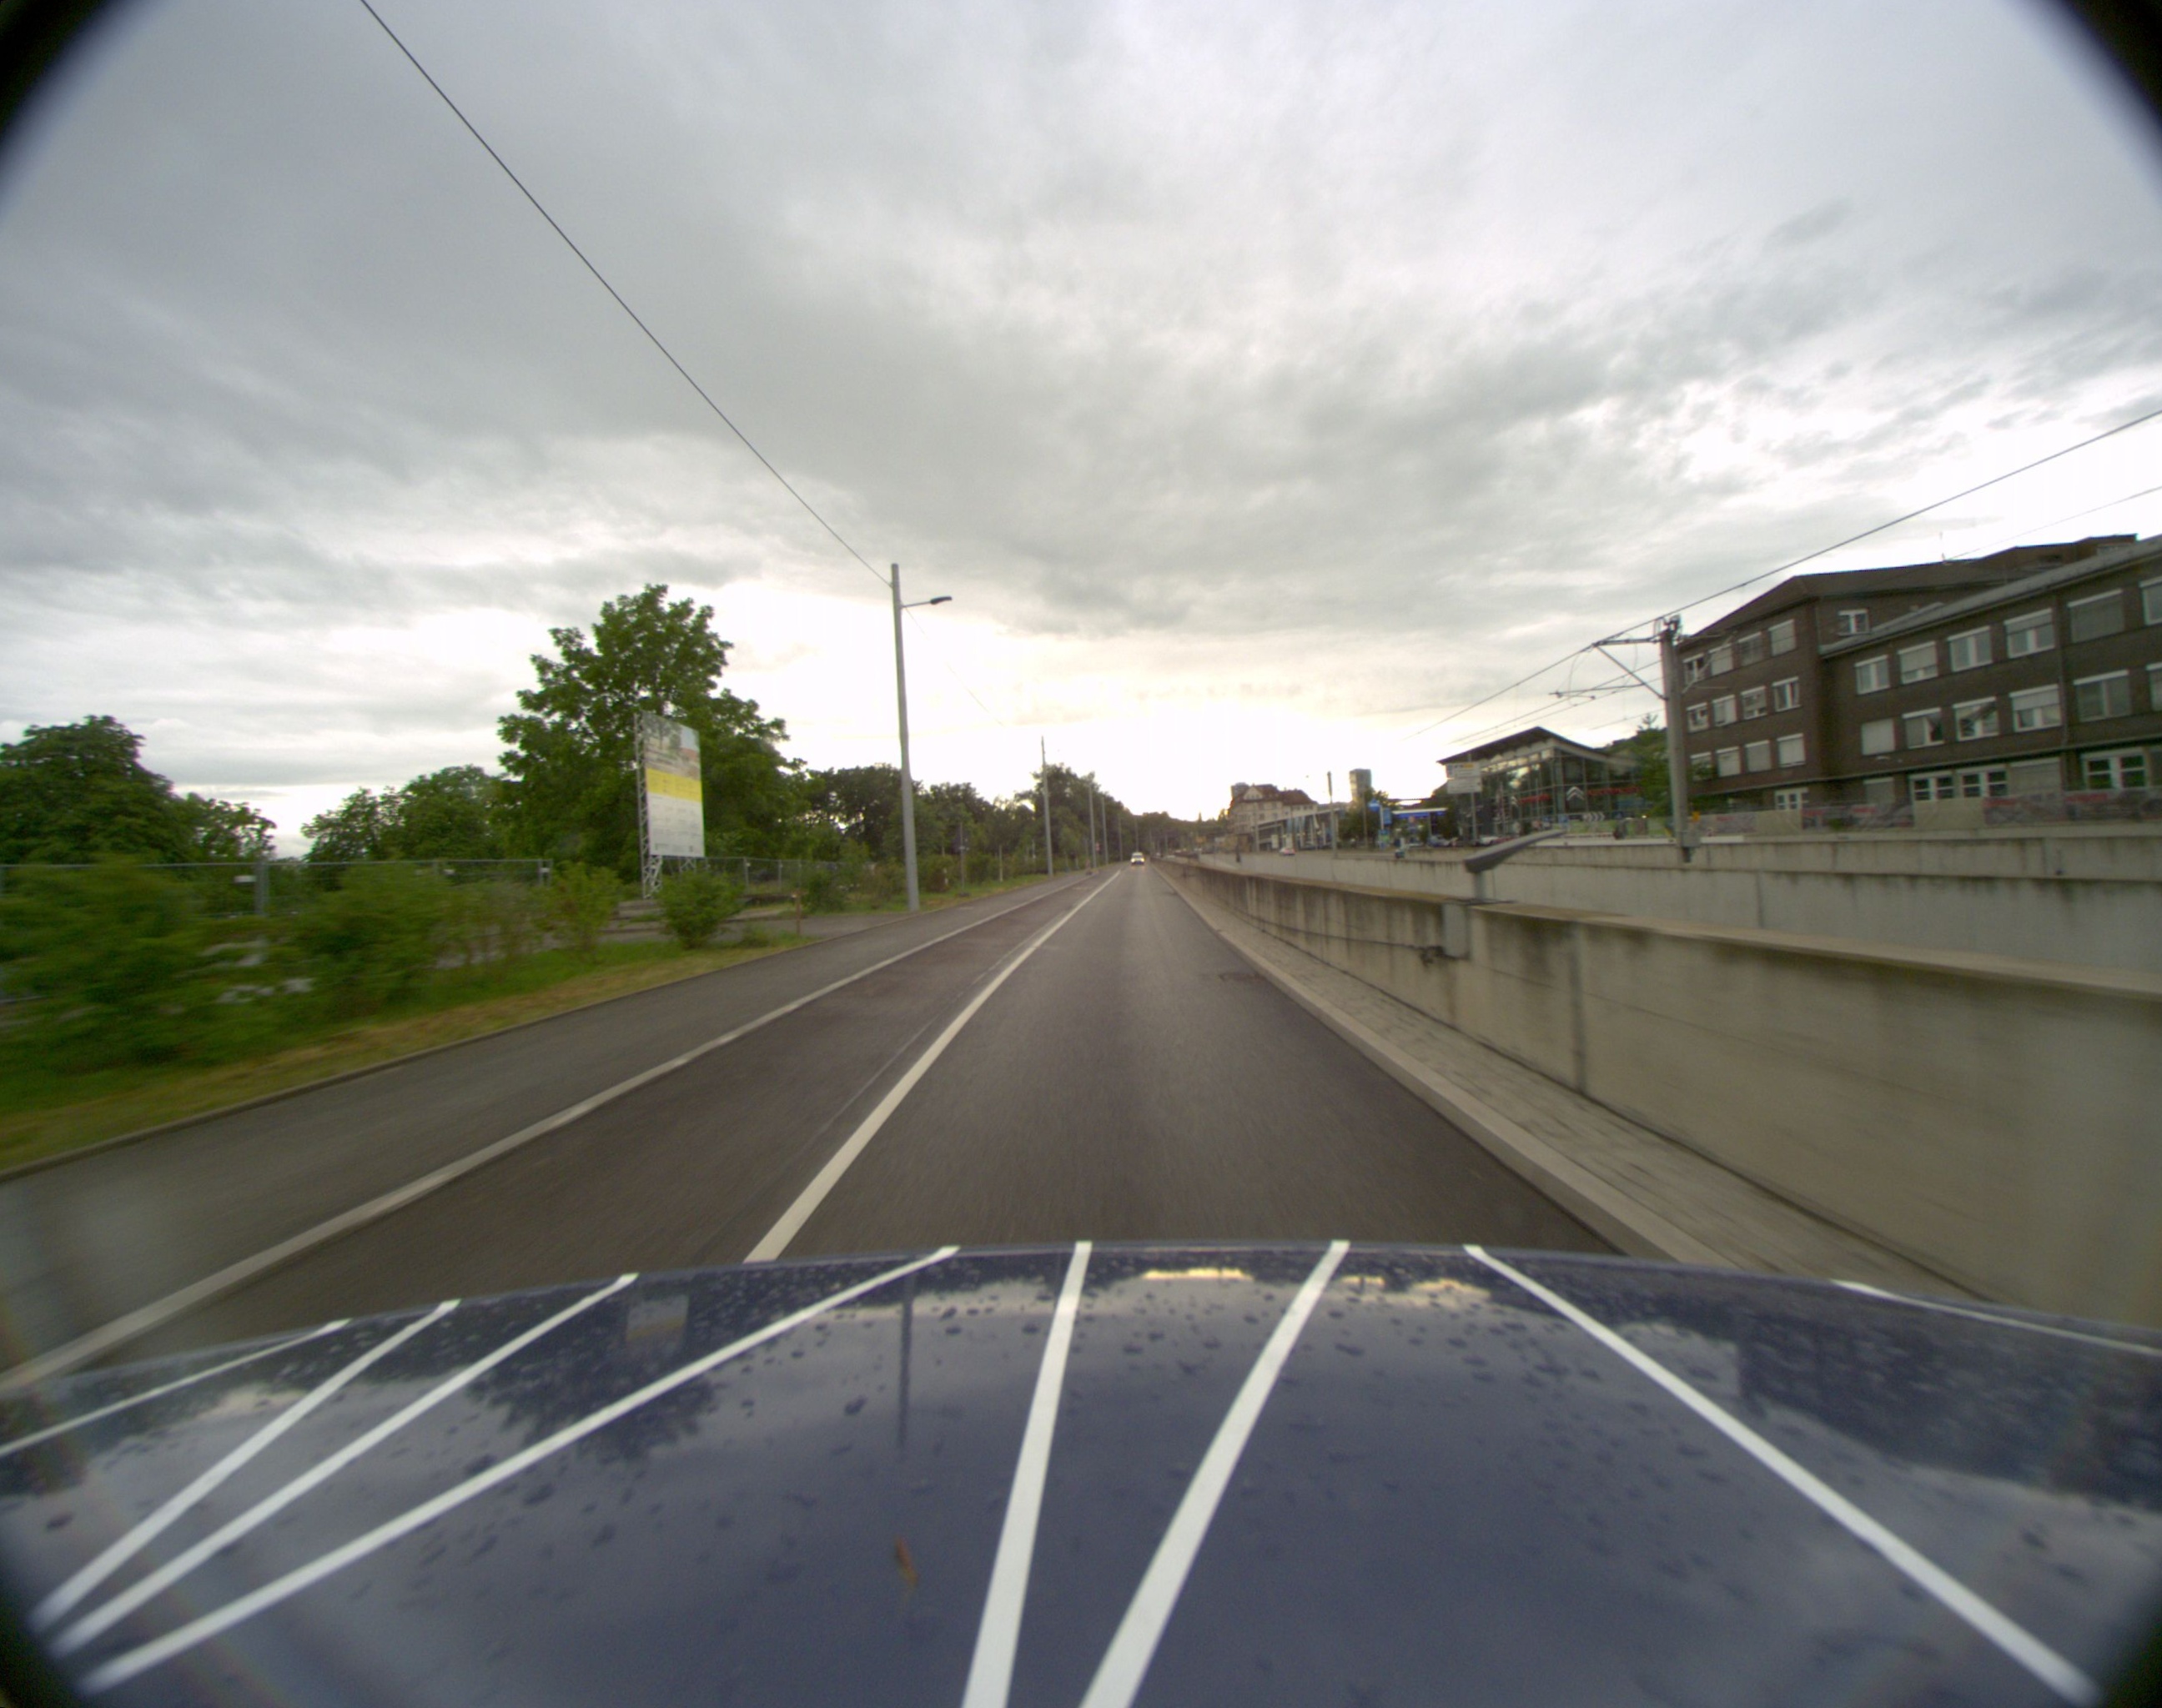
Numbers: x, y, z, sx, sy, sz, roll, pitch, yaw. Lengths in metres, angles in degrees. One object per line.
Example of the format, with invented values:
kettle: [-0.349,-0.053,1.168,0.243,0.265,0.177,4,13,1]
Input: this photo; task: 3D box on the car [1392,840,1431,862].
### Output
car: [31.948,-0.293,73.598,1.998,2.002,4.000,-2,0,1]

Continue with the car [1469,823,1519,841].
car: [46.992,-2.509,86.534,4.575,1.750,2.000,-3,0,4]

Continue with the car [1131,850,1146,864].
car: [8.413,0.421,110.915,1.998,2.002,4.001,-2,0,4]

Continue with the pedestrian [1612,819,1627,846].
pedestrian: [41.465,-1.669,58.476,0.581,2.002,0.728,-3,1,-33]

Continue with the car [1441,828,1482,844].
car: [47.246,-2.224,94.338,3.996,1.761,2.001,-3,0,4]

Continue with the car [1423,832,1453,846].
car: [46.592,-1.930,99.235,1.998,1.761,4.000,-3,0,3]

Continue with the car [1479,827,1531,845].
car: [46.821,-1.969,83.927,4.575,1.750,2.000,-3,0,4]

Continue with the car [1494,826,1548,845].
car: [47.062,-1.968,81.355,4.575,1.750,2.000,-3,0,4]

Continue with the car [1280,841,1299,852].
car: [35.656,-1.210,130.120,2.118,1.706,4.580,-3,0,2]
